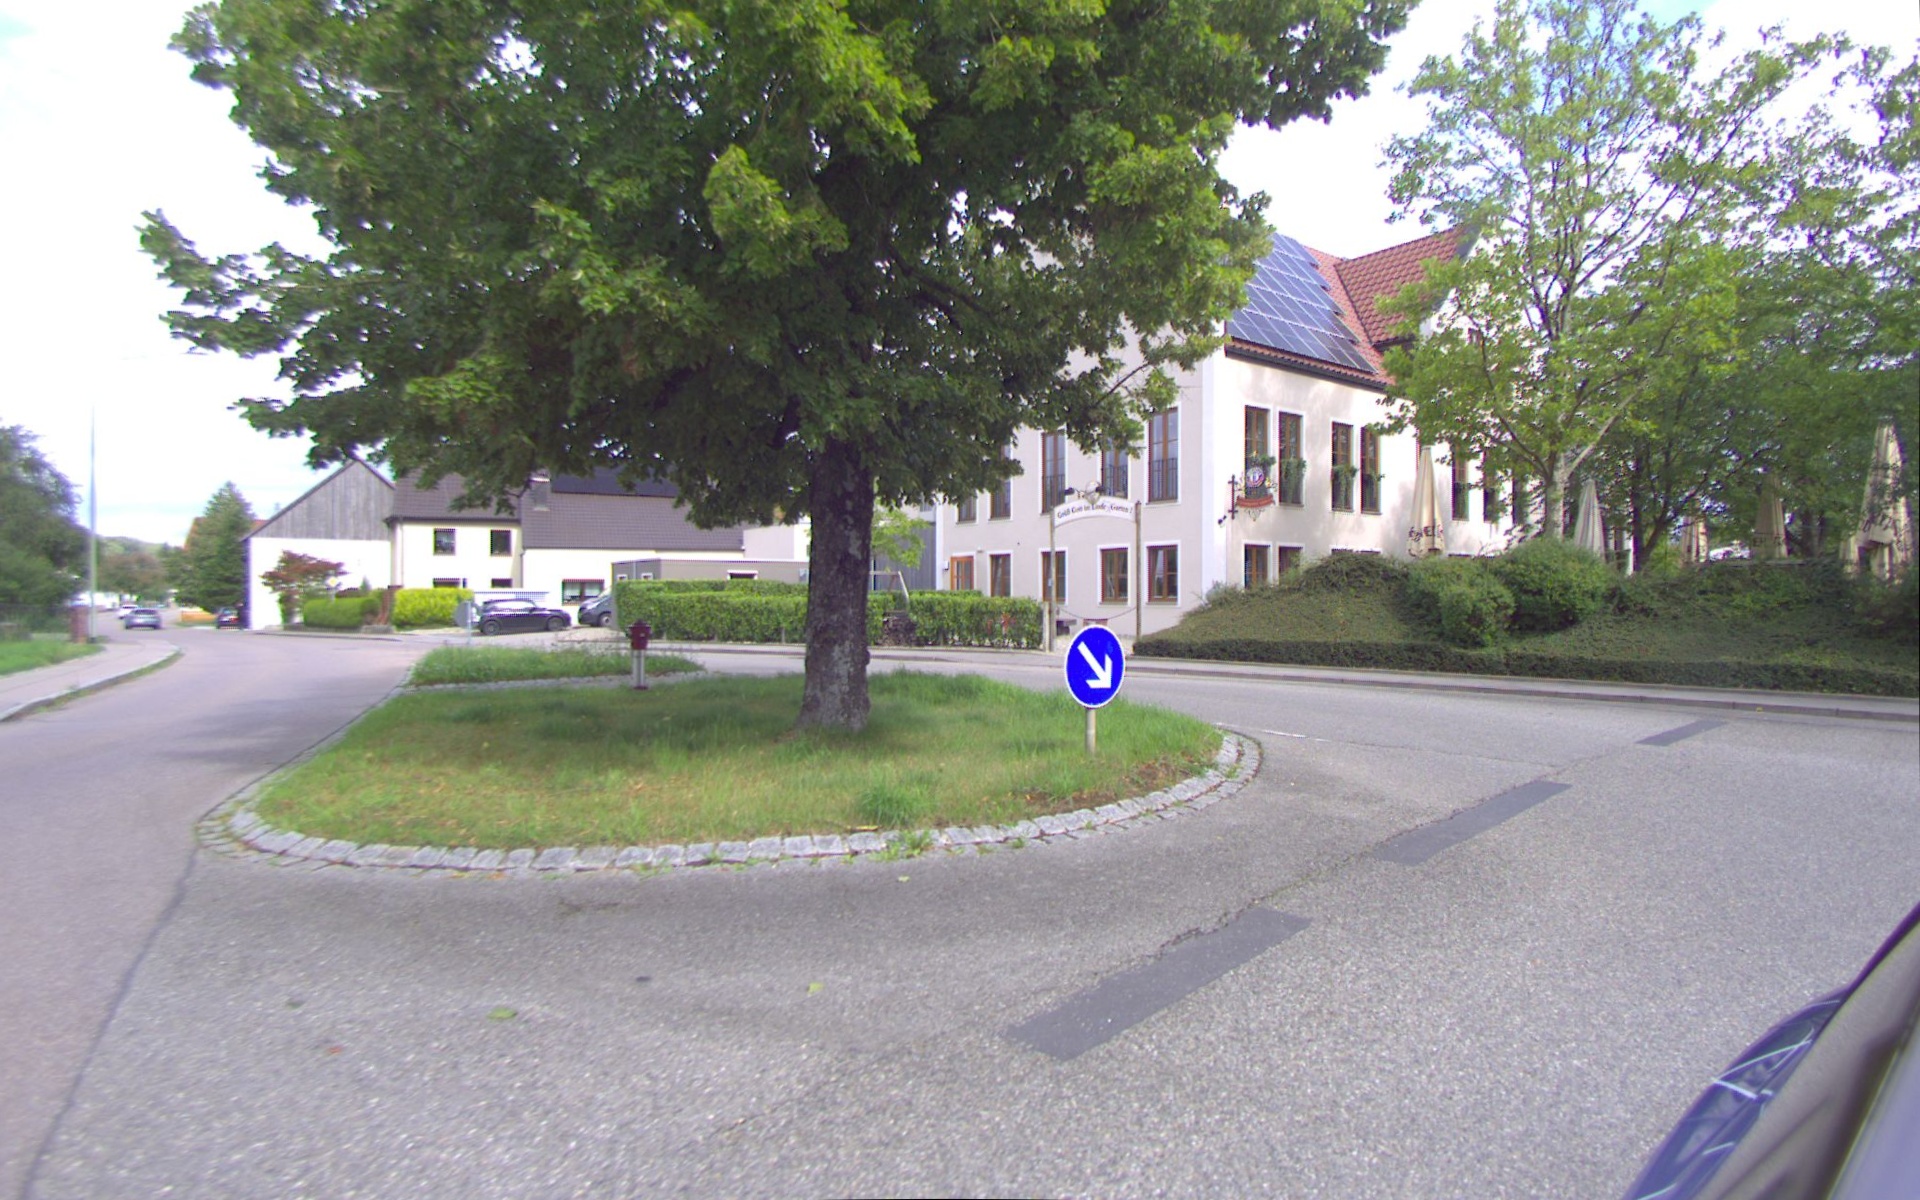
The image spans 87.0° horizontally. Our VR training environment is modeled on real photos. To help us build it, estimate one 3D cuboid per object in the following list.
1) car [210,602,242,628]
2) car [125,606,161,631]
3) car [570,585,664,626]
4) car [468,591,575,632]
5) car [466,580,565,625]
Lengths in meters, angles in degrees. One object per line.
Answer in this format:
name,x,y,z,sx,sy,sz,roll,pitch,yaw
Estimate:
car,-49.449,0.993,68.212,1.698,1.627,3.999,0,1,-36
car,-57.296,1.300,71.006,1.698,1.627,3.999,0,1,-36
car,-14.929,0.230,44.087,3.570,1.733,1.720,0,0,-35
car,-18.208,0.445,42.068,3.833,1.420,1.702,-3,3,-34
car,-19.418,0.071,44.275,3.826,1.719,1.705,-3,3,-24
